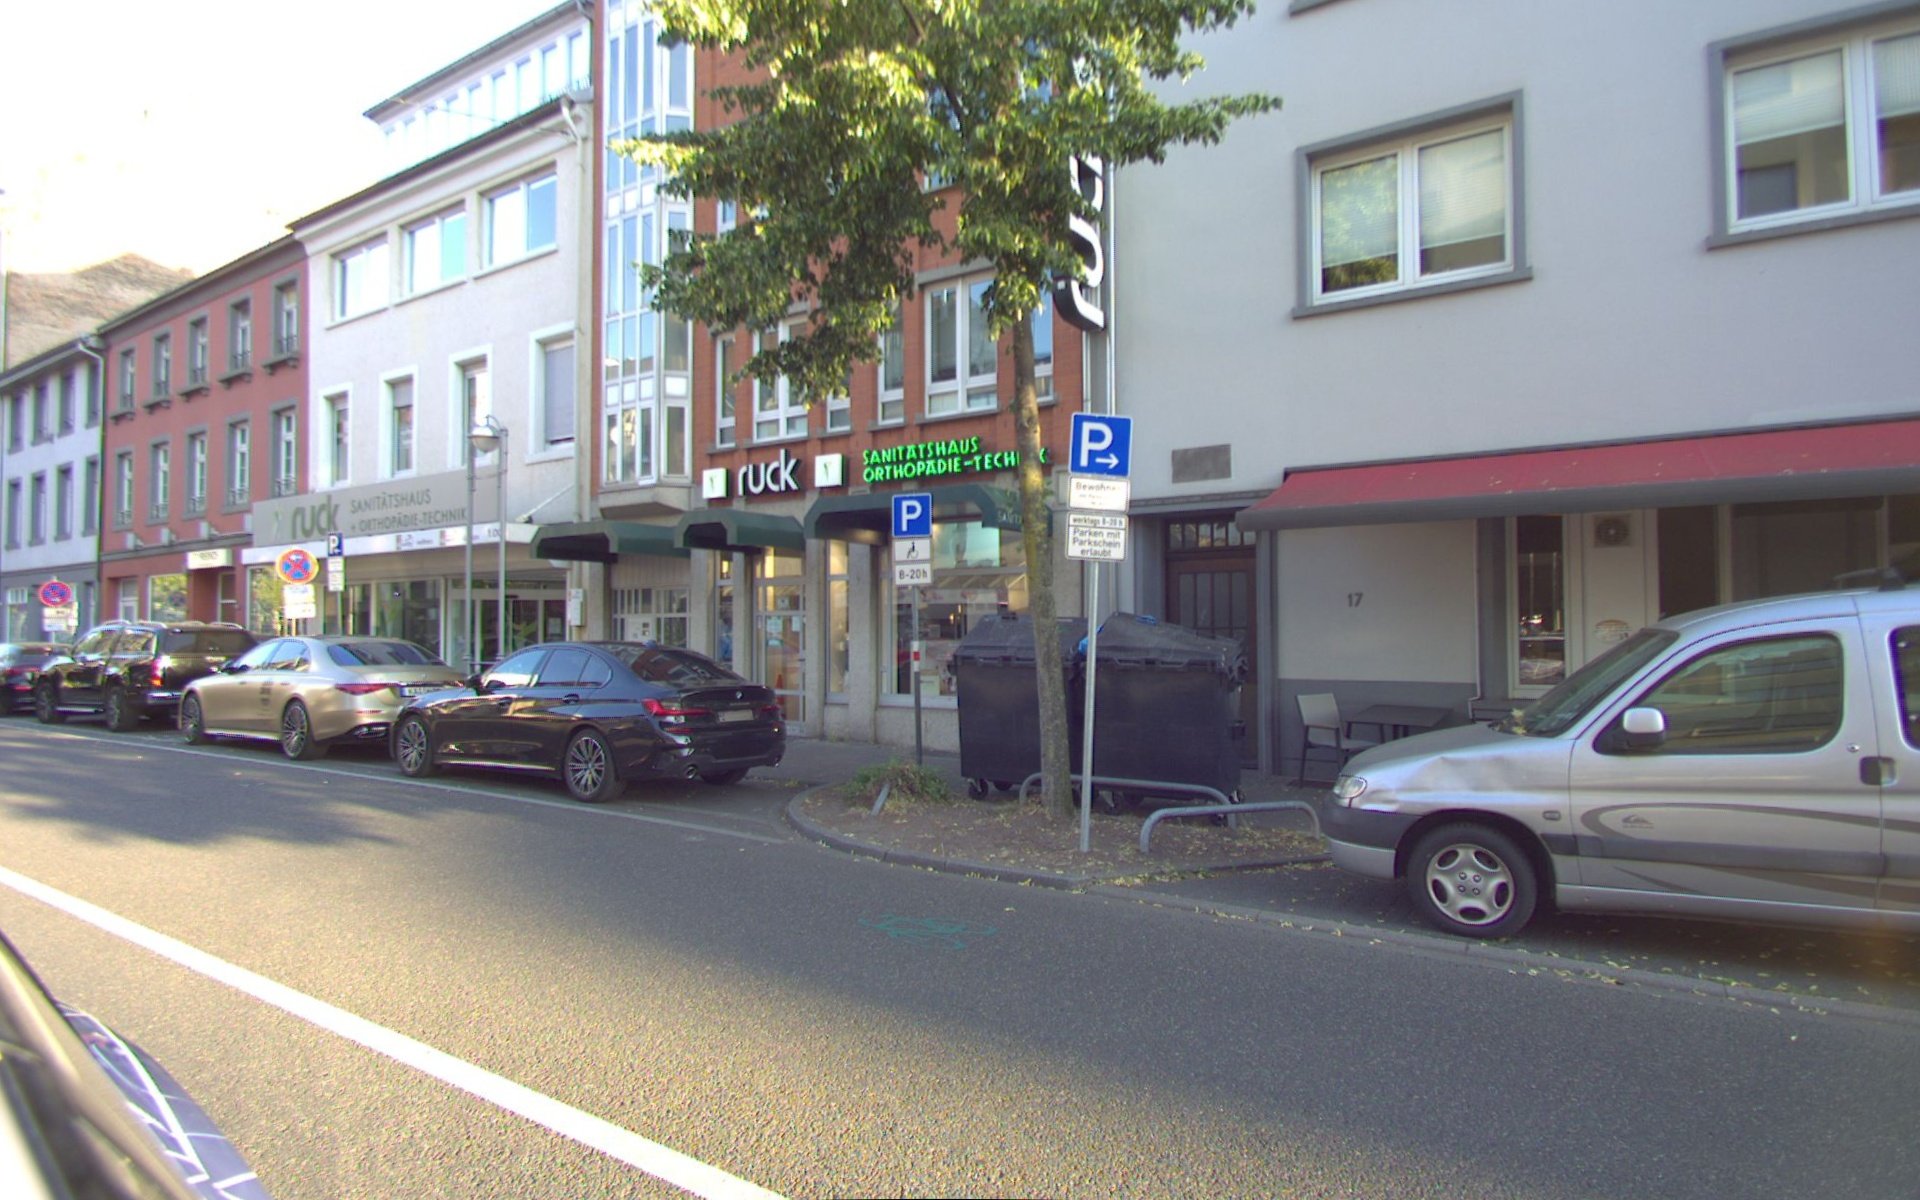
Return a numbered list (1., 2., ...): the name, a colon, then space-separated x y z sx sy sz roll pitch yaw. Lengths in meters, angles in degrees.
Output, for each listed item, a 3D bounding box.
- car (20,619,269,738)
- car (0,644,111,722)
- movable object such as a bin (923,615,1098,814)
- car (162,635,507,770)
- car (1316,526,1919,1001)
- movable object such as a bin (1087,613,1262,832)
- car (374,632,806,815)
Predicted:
1. car: -14.041 1.291 17.348 4.921 1.793 1.708 -2 -4 31
2. car: -19.229 1.659 20.681 4.001 1.448 1.688 -2 -5 32
3. movable object such as a bin: 0.452 0.961 9.042 1.331 1.632 0.775 -1 -1 30
4. car: -8.396 1.250 13.429 5.094 1.484 1.977 -2 -4 34
5. car: 4.000 0.703 4.951 4.038 1.902 1.657 -1 -4 31
6. movable object such as a bin: 1.760 0.941 8.284 1.203 1.632 0.775 -1 0 30
7. car: -3.837 1.113 10.210 4.528 1.484 1.706 -2 -5 33
